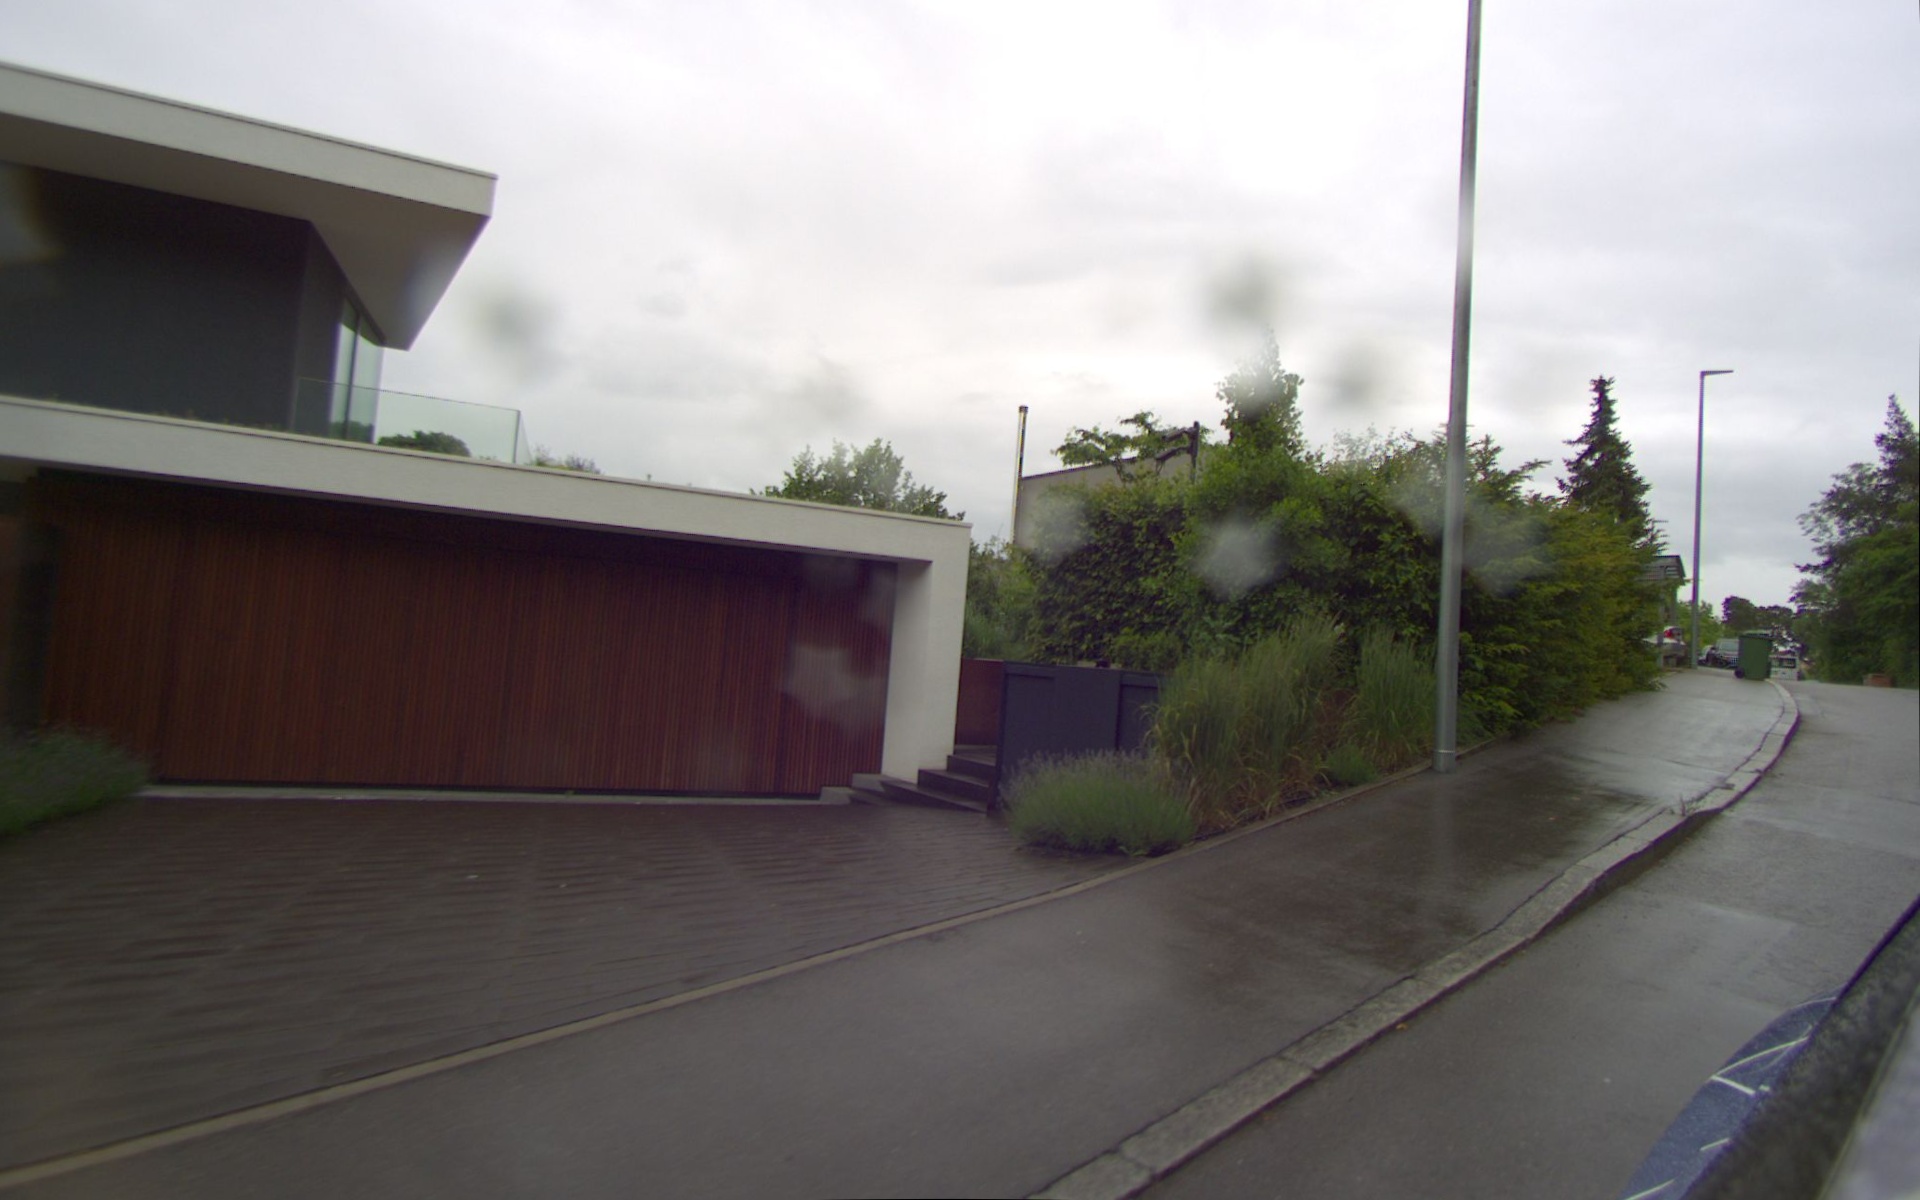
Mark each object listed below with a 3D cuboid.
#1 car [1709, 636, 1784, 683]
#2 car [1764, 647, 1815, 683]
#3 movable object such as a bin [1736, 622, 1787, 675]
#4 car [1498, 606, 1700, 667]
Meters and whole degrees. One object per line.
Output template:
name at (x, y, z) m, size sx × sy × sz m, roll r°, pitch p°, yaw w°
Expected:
car at (31.237, 2.386, 40.281) m, size 1.868 × 1.612 × 4.425 m, roll 3°, pitch -3°, yaw 32°
car at (52.591, 4.157, 64.252) m, size 2.106 × 2.000 × 5.103 m, roll 3°, pitch -3°, yaw 36°
movable object such as a bin at (18.252, 1.100, 23.056) m, size 0.788 × 1.109 × 0.666 m, roll 7°, pitch 1°, yaw 36°
car at (16.947, 0.940, 26.968) m, size 1.909 × 1.433 × 4.220 m, roll 3°, pitch -2°, yaw -44°
